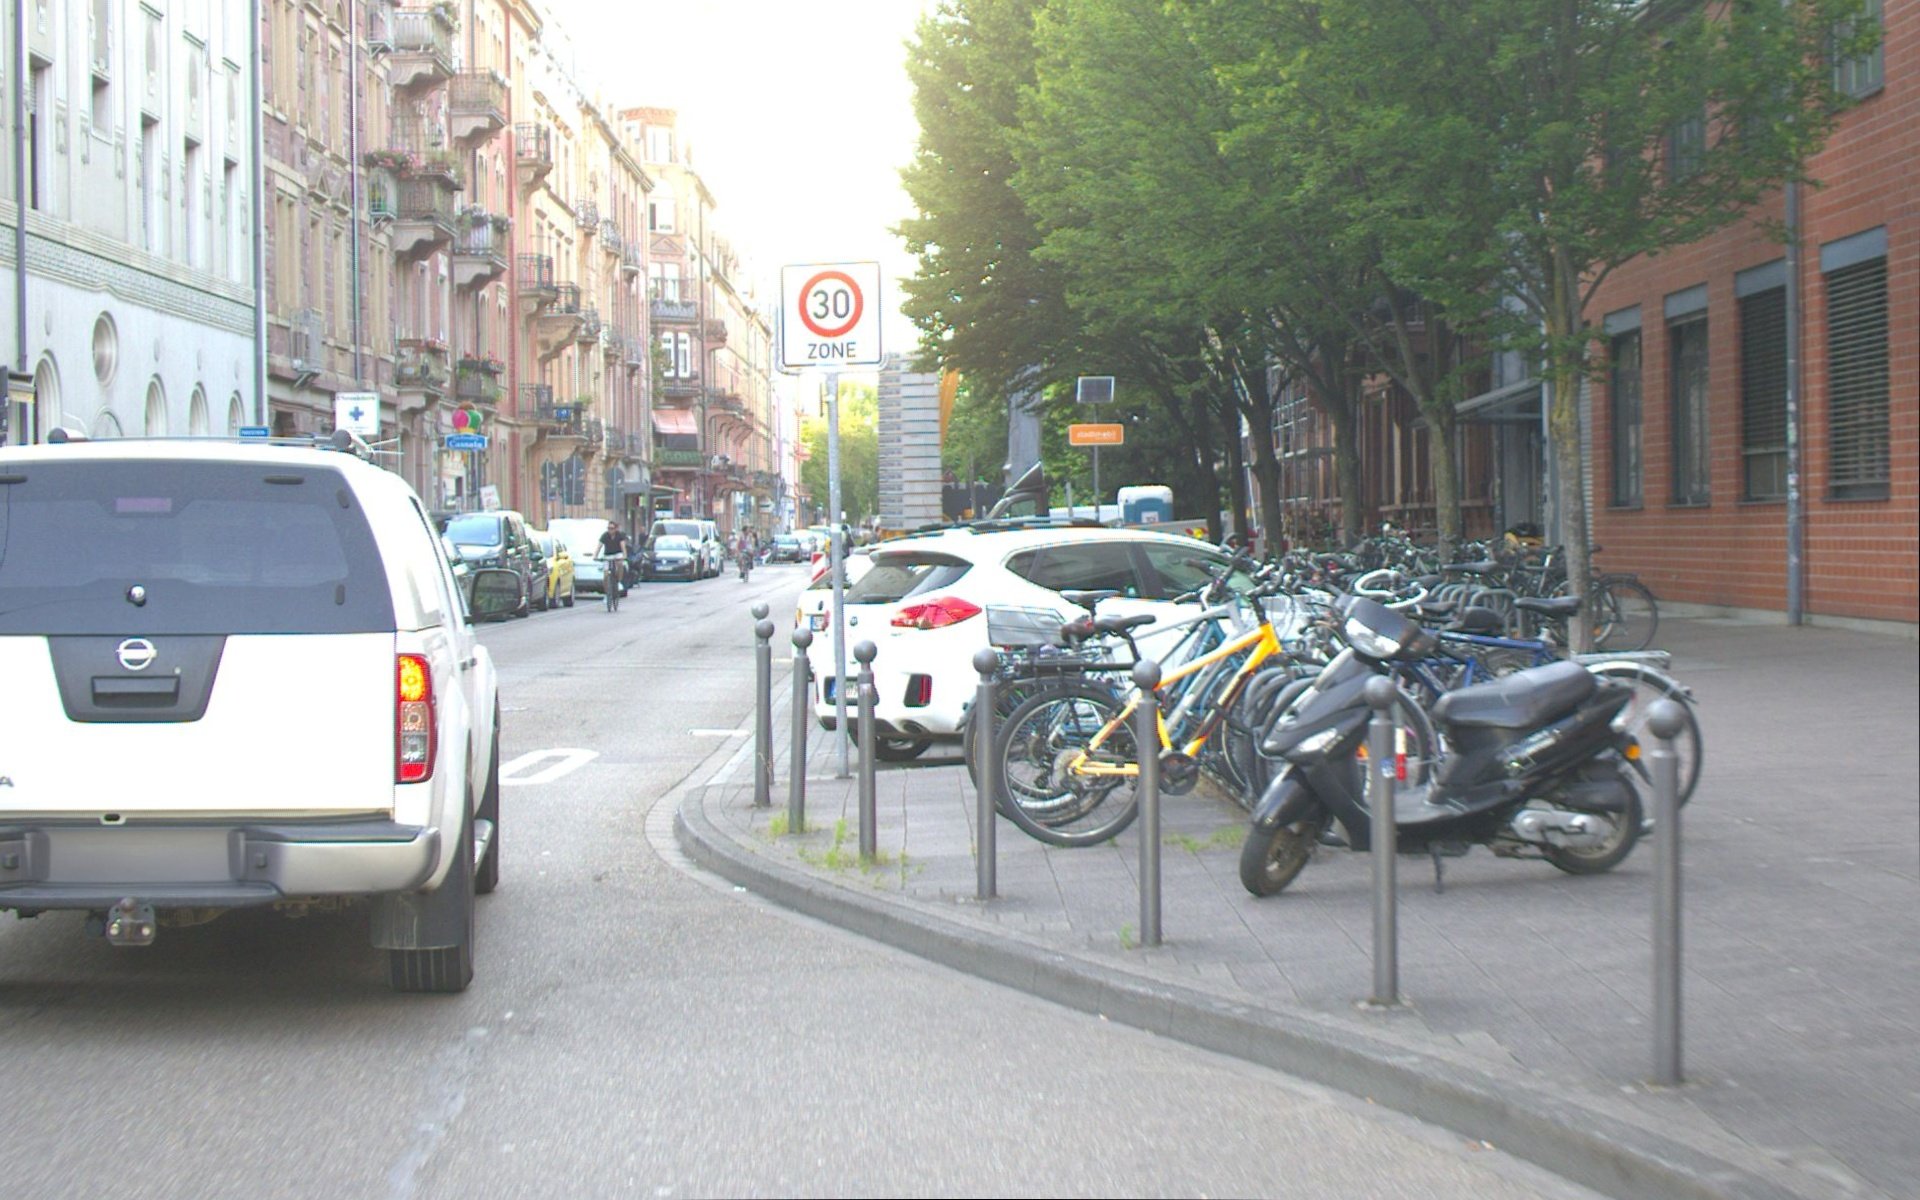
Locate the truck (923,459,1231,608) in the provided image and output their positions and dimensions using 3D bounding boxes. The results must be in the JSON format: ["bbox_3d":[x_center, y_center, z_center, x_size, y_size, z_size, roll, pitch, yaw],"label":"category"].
[{"bbox_3d":[2.420,-1.359,71.766,6.320,2.966,2.264,0,-2,1],"label":"truck"}]

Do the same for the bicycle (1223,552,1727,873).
[{"bbox_3d":[2.052,0.438,13.847,1.859,1.142,0.659,-4,1,-1],"label":"bicycle"}]

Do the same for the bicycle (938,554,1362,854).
[{"bbox_3d":[0.792,0.428,14.521,1.707,1.172,0.472,-2,1,-2],"label":"bicycle"}]

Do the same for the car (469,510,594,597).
[{"bbox_3d":[-8.300,-0.920,66.866,1.993,1.647,4.000,0,1,-1],"label":"car"}]

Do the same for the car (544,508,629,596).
[{"bbox_3d":[-8.494,-1.112,78.468,1.559,1.914,3.857,1,1,-1],"label":"car"}]

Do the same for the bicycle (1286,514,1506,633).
[{"bbox_3d":[5.182,-0.316,40.940,2.534,1.375,0.599,-1,1,2],"label":"bicycle"}]

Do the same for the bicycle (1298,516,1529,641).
[{"bbox_3d":[5.115,-0.252,38.839,2.534,1.375,0.599,-1,1,2],"label":"bicycle"}]

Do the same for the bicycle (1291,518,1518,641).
[{"bbox_3d":[5.107,-0.239,39.579,2.534,1.375,0.599,-1,1,2],"label":"bicycle"}]

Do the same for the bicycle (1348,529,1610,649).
[{"bbox_3d":[5.180,-0.113,34.396,2.534,1.162,0.562,-1,1,2],"label":"bicycle"}]

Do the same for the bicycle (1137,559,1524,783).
[{"bbox_3d":[1.917,0.361,17.915,1.911,1.062,0.524,-2,1,-2],"label":"bicycle"}]

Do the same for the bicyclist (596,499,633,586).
[{"bbox_3d":[-6.765,-1.129,67.339,0.603,1.679,1.142,-1,1,0],"label":"bicyclist"}]

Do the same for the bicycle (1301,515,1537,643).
[{"bbox_3d":[5.080,-0.235,38.113,2.534,1.375,0.599,-1,1,2],"label":"bicycle"}]

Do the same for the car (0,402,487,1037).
[{"bbox_3d":[-2.692,0.305,12.002,1.933,1.788,4.623,0,1,-6],"label":"car"}]

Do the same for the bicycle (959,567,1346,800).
[{"bbox_3d":[0.952,0.409,17.193,1.857,1.062,0.446,-2,1,-2],"label":"bicycle"}]

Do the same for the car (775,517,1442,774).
[{"bbox_3d":[0.988,0.241,22.352,3.987,1.501,1.770,-1,1,-30],"label":"car"}]

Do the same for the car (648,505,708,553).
[{"bbox_3d":[-9.265,-2.331,113.203,1.710,1.525,4.000,0,1,-1],"label":"car"}]

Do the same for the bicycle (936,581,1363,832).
[{"bbox_3d":[0.847,0.475,15.585,1.857,1.035,0.472,-2,1,-2],"label":"bicycle"}]

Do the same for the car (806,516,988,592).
[{"bbox_3d":[-1.486,-1.109,82.679,4.196,1.774,1.819,0,1,5],"label":"car"}]

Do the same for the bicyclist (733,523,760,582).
[{"bbox_3d":[-6.690,-1.501,107.702,0.800,1.843,0.944,0,1,-3],"label":"bicyclist"}]

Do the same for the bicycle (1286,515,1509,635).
[{"bbox_3d":[5.117,-0.294,40.276,2.534,1.375,0.599,-1,1,2],"label":"bicycle"}]

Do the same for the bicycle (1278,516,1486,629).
[{"bbox_3d":[5.280,-0.350,43.081,2.534,1.375,0.599,-1,1,2],"label":"bicycle"}]

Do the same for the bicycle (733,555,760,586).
[{"bbox_3d":[-6.685,-0.923,107.783,0.800,0.944,2.005,0,1,-3],"label":"bicycle"}]

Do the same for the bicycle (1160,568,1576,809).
[{"bbox_3d":[1.903,0.407,16.112,1.857,1.035,0.402,-2,1,-2],"label":"bicycle"}]

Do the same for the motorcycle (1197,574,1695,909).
[{"bbox_3d":[1.770,0.498,12.616,1.644,1.098,0.647,-3,1,-9],"label":"motorcycle"}]

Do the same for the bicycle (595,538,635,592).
[{"bbox_3d":[-6.763,-0.690,67.396,0.614,1.036,1.904,-1,1,-1],"label":"bicycle"}]

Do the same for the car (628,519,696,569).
[{"bbox_3d":[-9.291,-1.758,107.530,1.791,1.525,4.000,0,1,0],"label":"car"}]

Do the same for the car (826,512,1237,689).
[{"bbox_3d":[0.702,-0.026,32.978,3.594,1.575,1.716,-2,1,-33],"label":"car"}]

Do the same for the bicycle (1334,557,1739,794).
[{"bbox_3d":[2.824,0.361,16.918,1.857,1.062,0.524,-2,1,-2],"label":"bicycle"}]

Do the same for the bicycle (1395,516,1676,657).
[{"bbox_3d":[5.120,-0.126,30.682,2.346,1.095,0.680,-4,1,2],"label":"bicycle"}]

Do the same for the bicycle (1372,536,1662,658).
[{"bbox_3d":[5.155,-0.036,31.891,2.534,0.956,0.680,-4,1,2],"label":"bicycle"}]

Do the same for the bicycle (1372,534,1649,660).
[{"bbox_3d":[5.205,-0.034,32.601,2.534,1.162,0.562,-1,1,2],"label":"bicycle"}]

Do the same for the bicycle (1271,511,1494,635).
[{"bbox_3d":[5.111,-0.329,41.707,2.534,1.240,0.599,-6,1,2],"label":"bicycle"}]

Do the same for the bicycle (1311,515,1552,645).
[{"bbox_3d":[5.115,-0.221,37.399,2.534,1.375,0.599,-1,1,2],"label":"bicycle"}]

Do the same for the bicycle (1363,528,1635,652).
[{"bbox_3d":[5.193,-0.098,33.208,2.534,1.162,0.562,-1,1,2],"label":"bicycle"}]

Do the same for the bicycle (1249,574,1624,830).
[{"bbox_3d":[2.084,0.441,15.121,1.539,1.035,0.472,-2,1,-2],"label":"bicycle"}]

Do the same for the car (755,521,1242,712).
[{"bbox_3d":[0.361,0.099,30.112,3.987,1.531,1.636,-2,2,-31],"label":"car"}]

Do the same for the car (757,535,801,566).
[{"bbox_3d":[-9.246,-2.528,175.635,1.847,1.546,4.355,0,1,3],"label":"car"}]

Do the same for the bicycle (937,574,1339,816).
[{"bbox_3d":[0.846,0.447,16.516,1.857,1.062,0.446,-2,1,-2],"label":"bicycle"}]

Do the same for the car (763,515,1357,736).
[{"bbox_3d":[0.762,0.157,25.296,3.987,1.468,1.875,-2,0,-33],"label":"car"}]

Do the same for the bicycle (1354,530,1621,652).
[{"bbox_3d":[5.173,-0.096,33.785,2.534,1.162,0.562,-1,1,2],"label":"bicycle"}]

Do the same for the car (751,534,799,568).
[{"bbox_3d":[-8.638,-2.297,160.613,1.847,1.546,4.355,0,1,2],"label":"car"}]

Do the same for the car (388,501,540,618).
[{"bbox_3d":[-8.465,-0.716,59.036,1.905,1.919,4.947,0,1,0],"label":"car"}]

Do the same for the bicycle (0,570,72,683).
[{"bbox_3d":[-9.149,0.250,33.080,0.423,1.009,1.717,0,2,13],"label":"bicycle"}]

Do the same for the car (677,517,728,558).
[{"bbox_3d":[-9.801,-2.384,131.065,1.846,1.546,4.356,0,1,-3],"label":"car"}]
